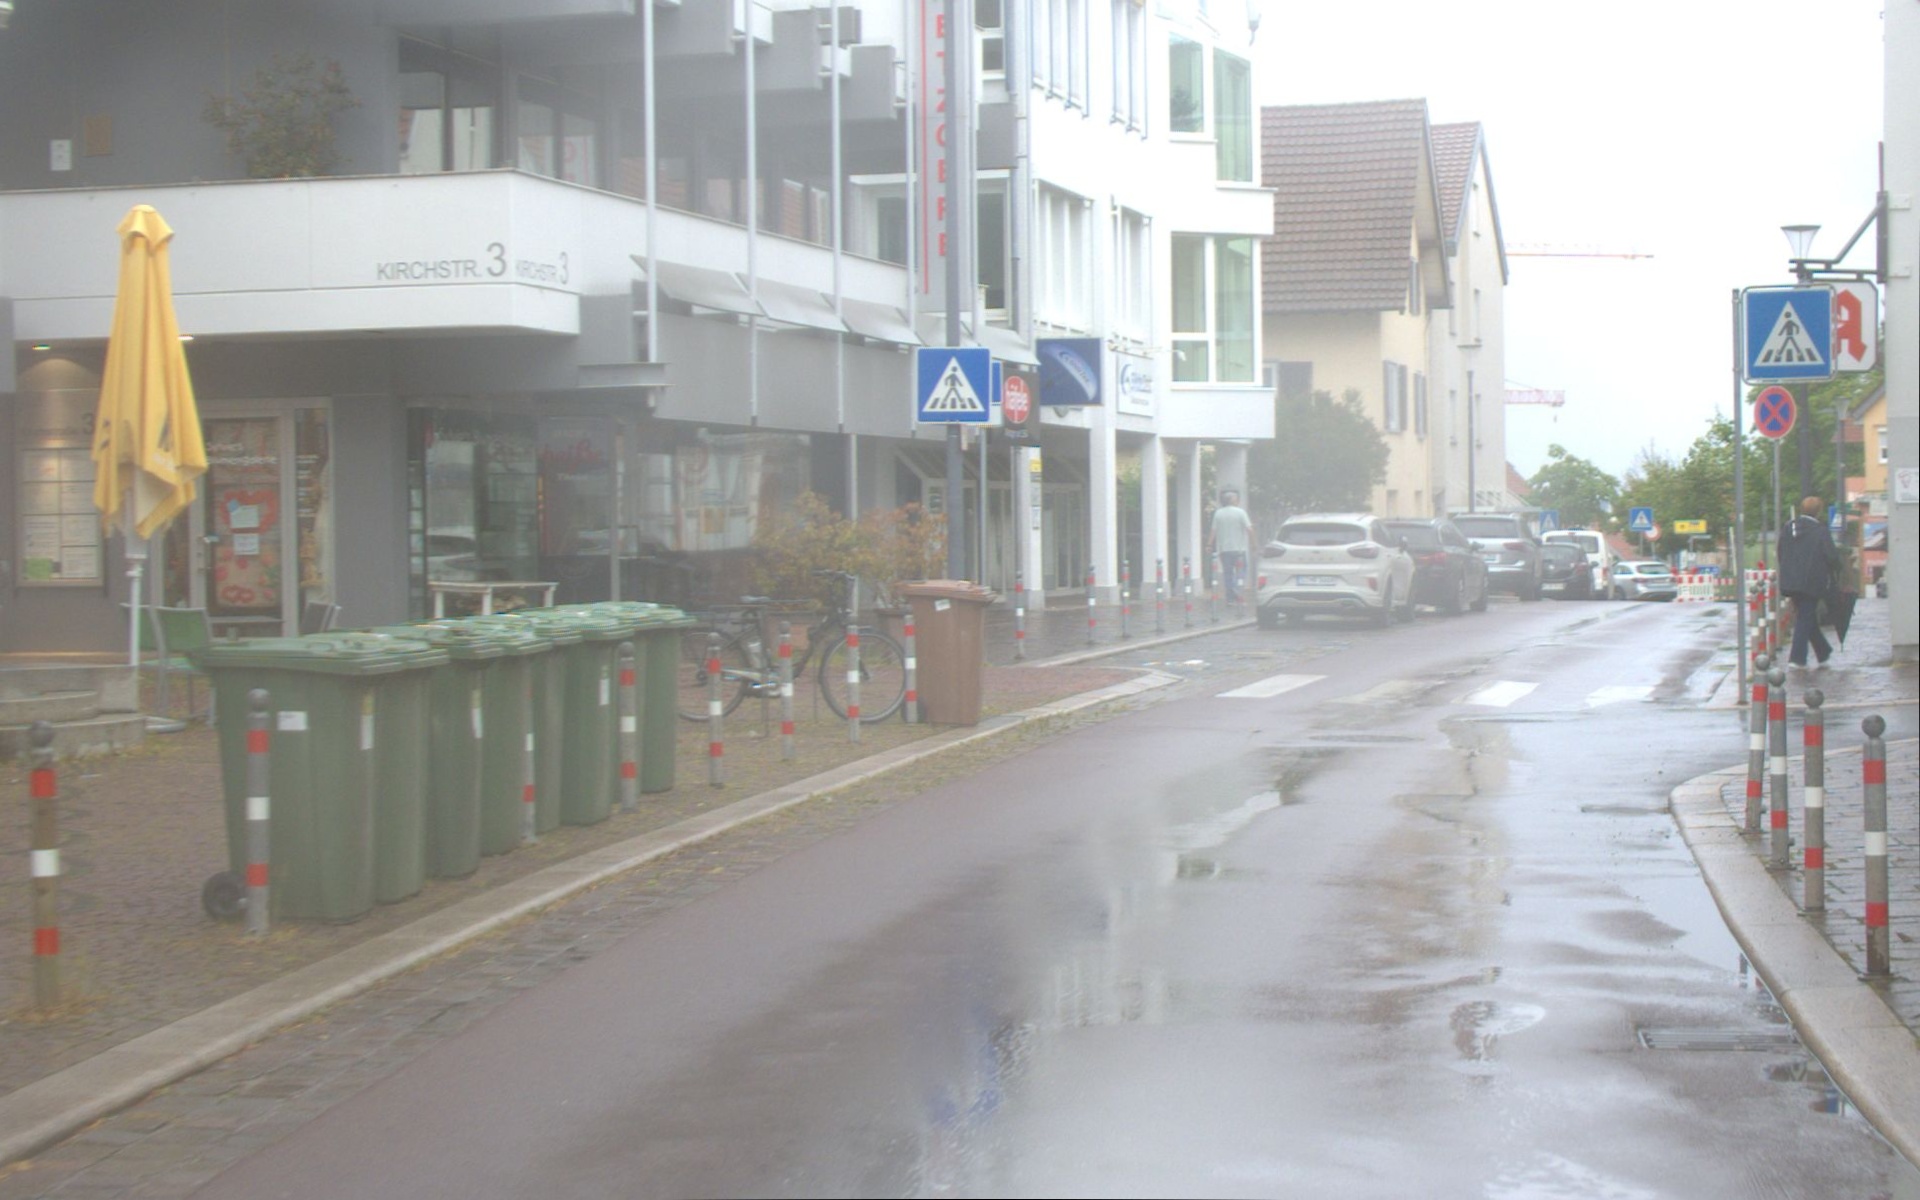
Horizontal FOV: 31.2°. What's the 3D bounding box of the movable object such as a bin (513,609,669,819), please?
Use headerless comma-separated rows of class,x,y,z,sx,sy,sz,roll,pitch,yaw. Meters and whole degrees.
movable object such as a bin,-1.946,0.591,18.195,0.686,1.073,0.669,0,1,7

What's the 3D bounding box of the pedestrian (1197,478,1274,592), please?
pedestrian,4.390,-1.034,54.740,1.036,1.800,1.115,0,1,15

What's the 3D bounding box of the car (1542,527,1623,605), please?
car,15.155,-0.797,83.520,1.724,1.819,4.425,0,0,13

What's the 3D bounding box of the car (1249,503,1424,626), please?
car,5.201,-0.516,47.061,1.792,1.545,3.998,0,2,15

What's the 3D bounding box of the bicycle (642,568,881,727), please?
bicycle,-1.466,0.347,25.394,1.745,1.160,0.444,0,-1,-4

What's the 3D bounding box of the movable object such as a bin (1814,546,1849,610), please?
movable object such as a bin,17.687,-0.450,69.763,0.638,1.286,0.631,0,-1,20

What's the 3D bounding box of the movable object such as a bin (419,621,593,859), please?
movable object such as a bin,-2.184,0.663,16.595,0.686,1.101,0.669,0,1,7

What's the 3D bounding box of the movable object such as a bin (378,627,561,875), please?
movable object such as a bin,-2.259,0.683,15.885,0.686,1.101,0.669,0,1,7

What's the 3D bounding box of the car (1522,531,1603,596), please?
car,13.676,-0.811,77.915,1.682,1.384,3.823,0,0,12

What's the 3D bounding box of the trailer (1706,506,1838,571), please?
trailer,37.229,-2.810,157.709,5.783,2.937,1.999,0,-1,10

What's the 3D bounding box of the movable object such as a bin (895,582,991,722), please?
movable object such as a bin,-0.131,0.380,25.482,0.686,1.016,0.632,0,1,-2

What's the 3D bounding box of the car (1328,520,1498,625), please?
car,6.989,-0.446,52.680,1.832,1.493,4.760,-1,1,17

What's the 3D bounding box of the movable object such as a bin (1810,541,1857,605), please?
movable object such as a bin,15.604,-0.486,61.429,0.804,1.127,0.862,0,-1,14

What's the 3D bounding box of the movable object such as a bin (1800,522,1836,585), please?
movable object such as a bin,17.652,-0.949,70.716,0.638,1.286,0.631,0,-1,20

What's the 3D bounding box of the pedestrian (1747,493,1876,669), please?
pedestrian,8.502,-0.192,34.383,1.178,1.691,1.177,-2,0,13

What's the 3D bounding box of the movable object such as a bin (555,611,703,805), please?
movable object such as a bin,-1.825,0.588,19.015,0.686,1.038,0.669,0,1,7

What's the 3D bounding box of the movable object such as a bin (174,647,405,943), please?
movable object such as a bin,-2.549,0.728,13.127,0.686,1.074,0.677,0,1,7

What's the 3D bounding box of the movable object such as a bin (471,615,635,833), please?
movable object such as a bin,-2.058,0.617,17.438,0.686,1.070,0.669,0,1,7

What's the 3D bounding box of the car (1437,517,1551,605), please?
car,10.150,-0.711,65.100,1.781,1.563,4.405,0,0,13

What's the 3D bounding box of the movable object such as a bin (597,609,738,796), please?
movable object such as a bin,-1.672,0.578,19.729,0.686,1.036,0.669,0,1,7

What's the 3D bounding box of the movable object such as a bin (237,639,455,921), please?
movable object such as a bin,-2.467,0.711,13.872,0.686,1.083,0.712,0,1,7

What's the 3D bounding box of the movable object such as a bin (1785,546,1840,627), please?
movable object such as a bin,11.482,-0.178,46.281,0.677,1.082,0.717,0,0,17

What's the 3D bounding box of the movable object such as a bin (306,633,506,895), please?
movable object such as a bin,-2.367,0.692,14.755,0.686,1.077,0.669,0,1,7
